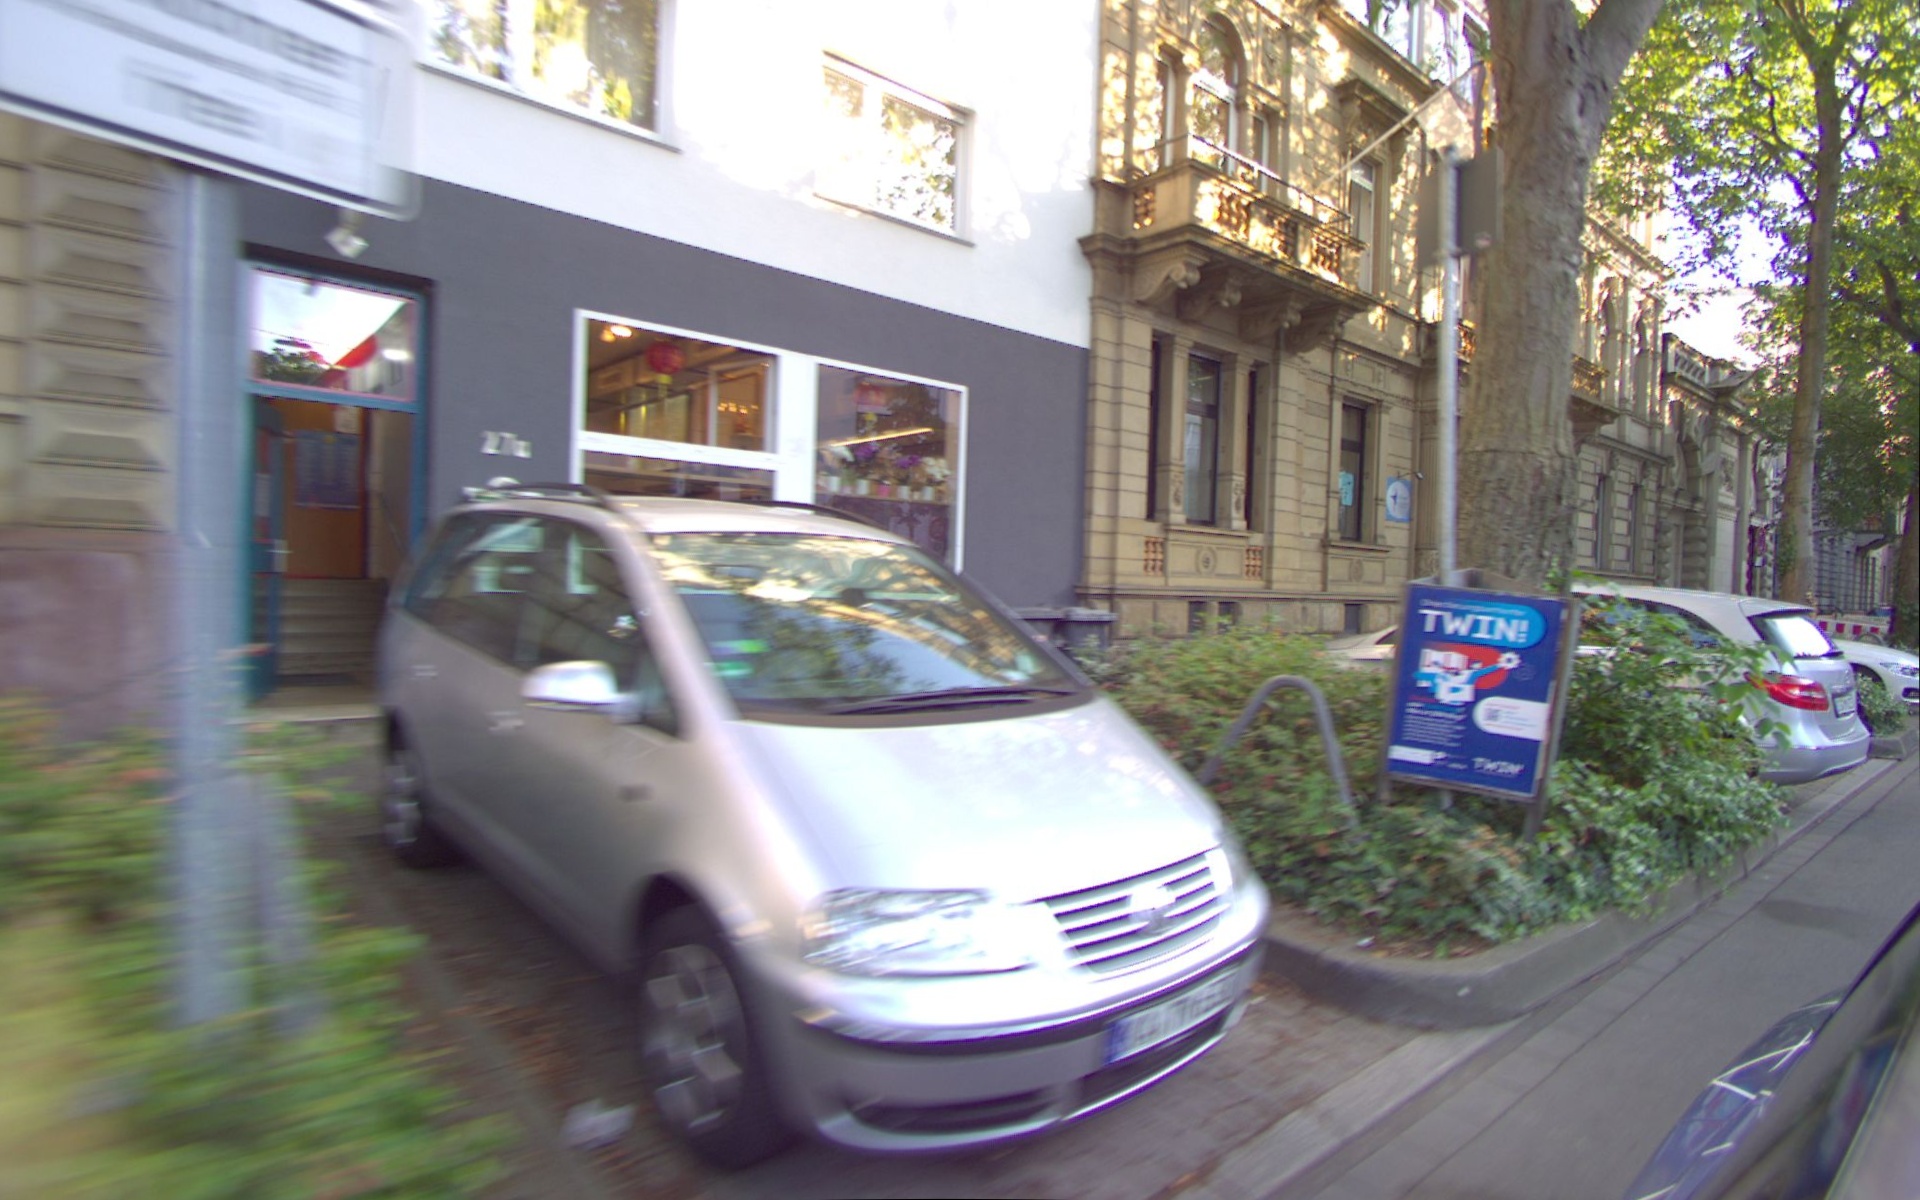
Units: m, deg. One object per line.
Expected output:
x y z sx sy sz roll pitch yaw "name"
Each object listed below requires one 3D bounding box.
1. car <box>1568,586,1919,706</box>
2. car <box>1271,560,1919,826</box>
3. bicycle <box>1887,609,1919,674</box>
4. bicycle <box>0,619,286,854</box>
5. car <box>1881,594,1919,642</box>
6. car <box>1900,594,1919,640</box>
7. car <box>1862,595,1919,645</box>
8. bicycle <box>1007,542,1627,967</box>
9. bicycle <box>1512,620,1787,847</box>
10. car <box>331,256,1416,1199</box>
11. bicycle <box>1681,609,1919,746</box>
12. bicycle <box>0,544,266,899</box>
12.301 0.607 15.635 1.890 1.455 4.596 1 2 -38 "car"
5.040 0.532 8.576 1.934 1.579 4.238 2 2 -37 "car"
21.271 0.910 21.667 0.499 1.378 2.049 1 0 -42 "bicycle"
-3.380 0.420 2.966 2.289 0.673 0.582 0 1 -41 "bicycle"
36.350 0.752 36.765 1.733 1.708 4.017 1 2 -40 "car"
38.499 0.774 37.984 1.933 1.738 4.451 0 4 -40 "car"
31.728 0.764 32.202 1.822 1.498 4.235 1 4 -40 "car"
1.615 0.577 5.359 0.647 1.684 3.115 1 1 -44 "bicycle"
4.396 0.789 6.528 0.480 1.219 1.340 1 2 -41 "bicycle"
-0.910 0.283 4.044 1.917 1.938 4.548 1 2 -42 "car"
9.115 0.792 10.984 2.016 1.218 0.482 5 3 38 "bicycle"
-3.789 0.417 3.624 2.120 1.254 0.583 1 1 -37 "bicycle"
